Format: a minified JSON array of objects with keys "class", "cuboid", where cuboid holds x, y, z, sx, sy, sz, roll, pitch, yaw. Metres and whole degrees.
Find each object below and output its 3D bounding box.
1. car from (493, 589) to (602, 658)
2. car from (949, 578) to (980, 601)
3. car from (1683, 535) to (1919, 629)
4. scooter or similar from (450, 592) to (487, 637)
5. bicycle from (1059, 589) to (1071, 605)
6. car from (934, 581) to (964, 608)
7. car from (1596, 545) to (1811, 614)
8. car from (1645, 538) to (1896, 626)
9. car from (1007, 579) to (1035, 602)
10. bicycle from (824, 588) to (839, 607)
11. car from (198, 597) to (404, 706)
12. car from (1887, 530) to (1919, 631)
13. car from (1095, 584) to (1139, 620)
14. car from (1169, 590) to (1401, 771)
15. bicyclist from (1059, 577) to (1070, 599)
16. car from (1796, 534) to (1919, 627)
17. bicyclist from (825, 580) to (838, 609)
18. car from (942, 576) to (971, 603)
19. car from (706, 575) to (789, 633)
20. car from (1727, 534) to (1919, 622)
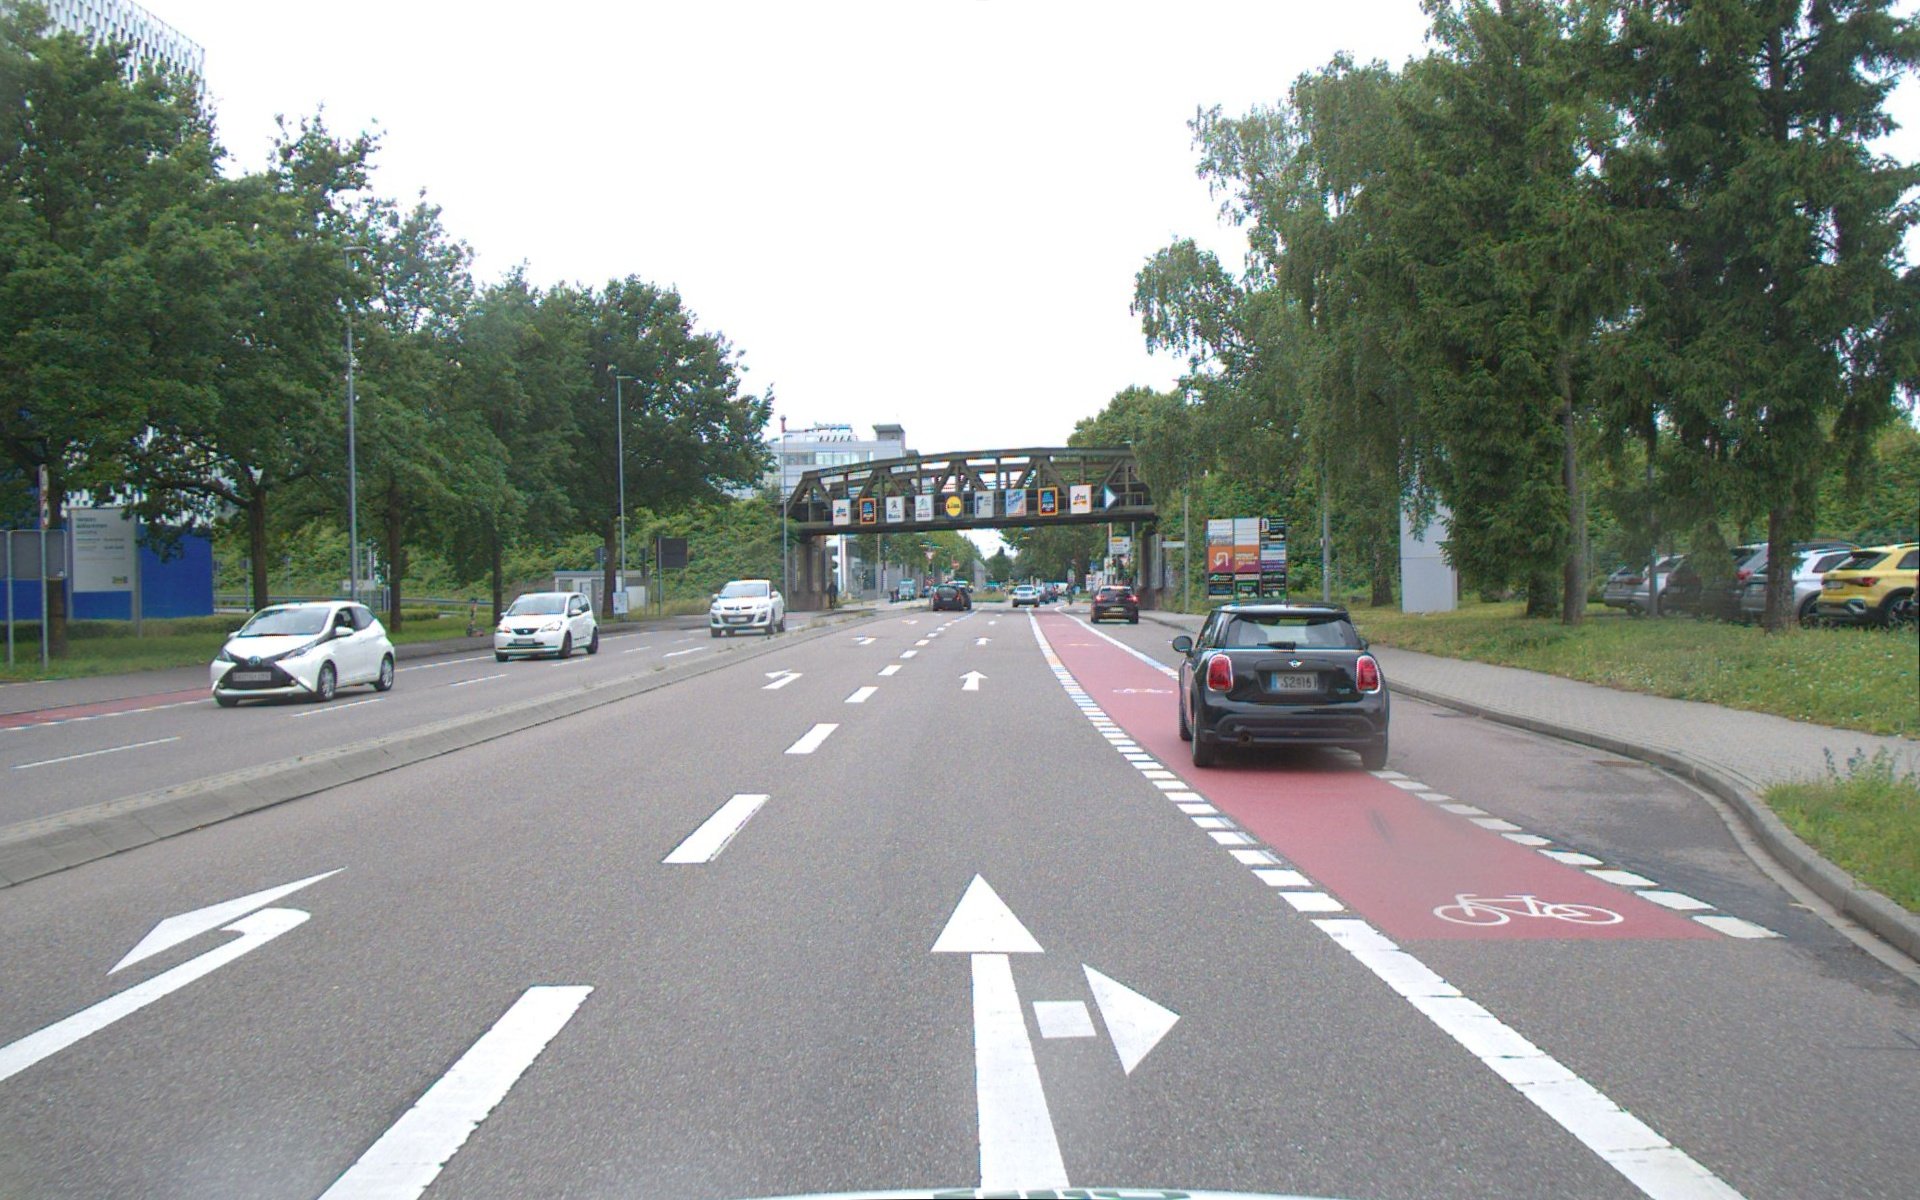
[{"class":"car","cuboid":[-9.428,0.499,38.049,1.642,1.453,3.650,-1,1,-1]},{"class":"car","cuboid":[0.275,-0.720,113.414,1.922,1.554,5.009,0,1,-2]},{"class":"car","cuboid":[16.357,-0.339,31.582,4.208,1.629,1.970,2,1,3]},{"class":"scooter or similar","cuboid":[-15.385,0.444,51.753,0.437,1.344,1.507,-1,0,11]},{"class":"bicycle","cuboid":[7.994,-0.222,126.155,0.799,1.234,2.684,-1,0,2]},{"class":"car","cuboid":[-0.686,-0.345,98.485,1.733,1.554,3.668,0,1,-1]},{"class":"car","cuboid":[17.034,-0.477,37.993,4.212,1.515,1.739,0,1,-4]},{"class":"car","cuboid":[16.683,-0.381,34.195,4.210,1.629,1.969,2,1,-1]},{"class":"car","cuboid":[4.272,-0.671,116.604,1.786,1.628,3.775,0,1,-1]},{"class":"bicycle","cuboid":[-8.443,-0.144,108.686,0.698,1.207,2.371,1,0,2]},{"class":"car","cuboid":[-9.934,0.724,25.225,1.590,1.447,3.612,-2,1,1]},{"class":"car","cuboid":[15.668,-0.215,23.685,3.674,1.448,1.953,2,1,0]},{"class":"car","cuboid":[5.907,0.040,62.390,1.612,1.303,3.422,0,1,5]},{"class":"car","cuboid":[2.915,0.650,15.532,1.644,1.456,3.776,0,1,3]},{"class":"bicyclist","cuboid":[7.977,-0.890,126.153,0.799,1.658,1.235,-1,0,1]},{"class":"car","cuboid":[15.870,-0.268,26.574,3.911,1.403,1.811,2,1,3]},{"class":"bicyclist","cuboid":[-8.442,-0.368,108.721,0.687,1.907,1.020,1,0,2]},{"class":"car","cuboid":[-0.226,-0.662,105.073,1.737,1.681,3.668,0,1,-1]},{"class":"car","cuboid":[-6.418,0.080,50.386,1.780,1.614,4.514,-3,1,1]},{"class":"car","cuboid":[15.964,-0.348,28.901,4.208,1.407,1.903,2,1,3]}]
